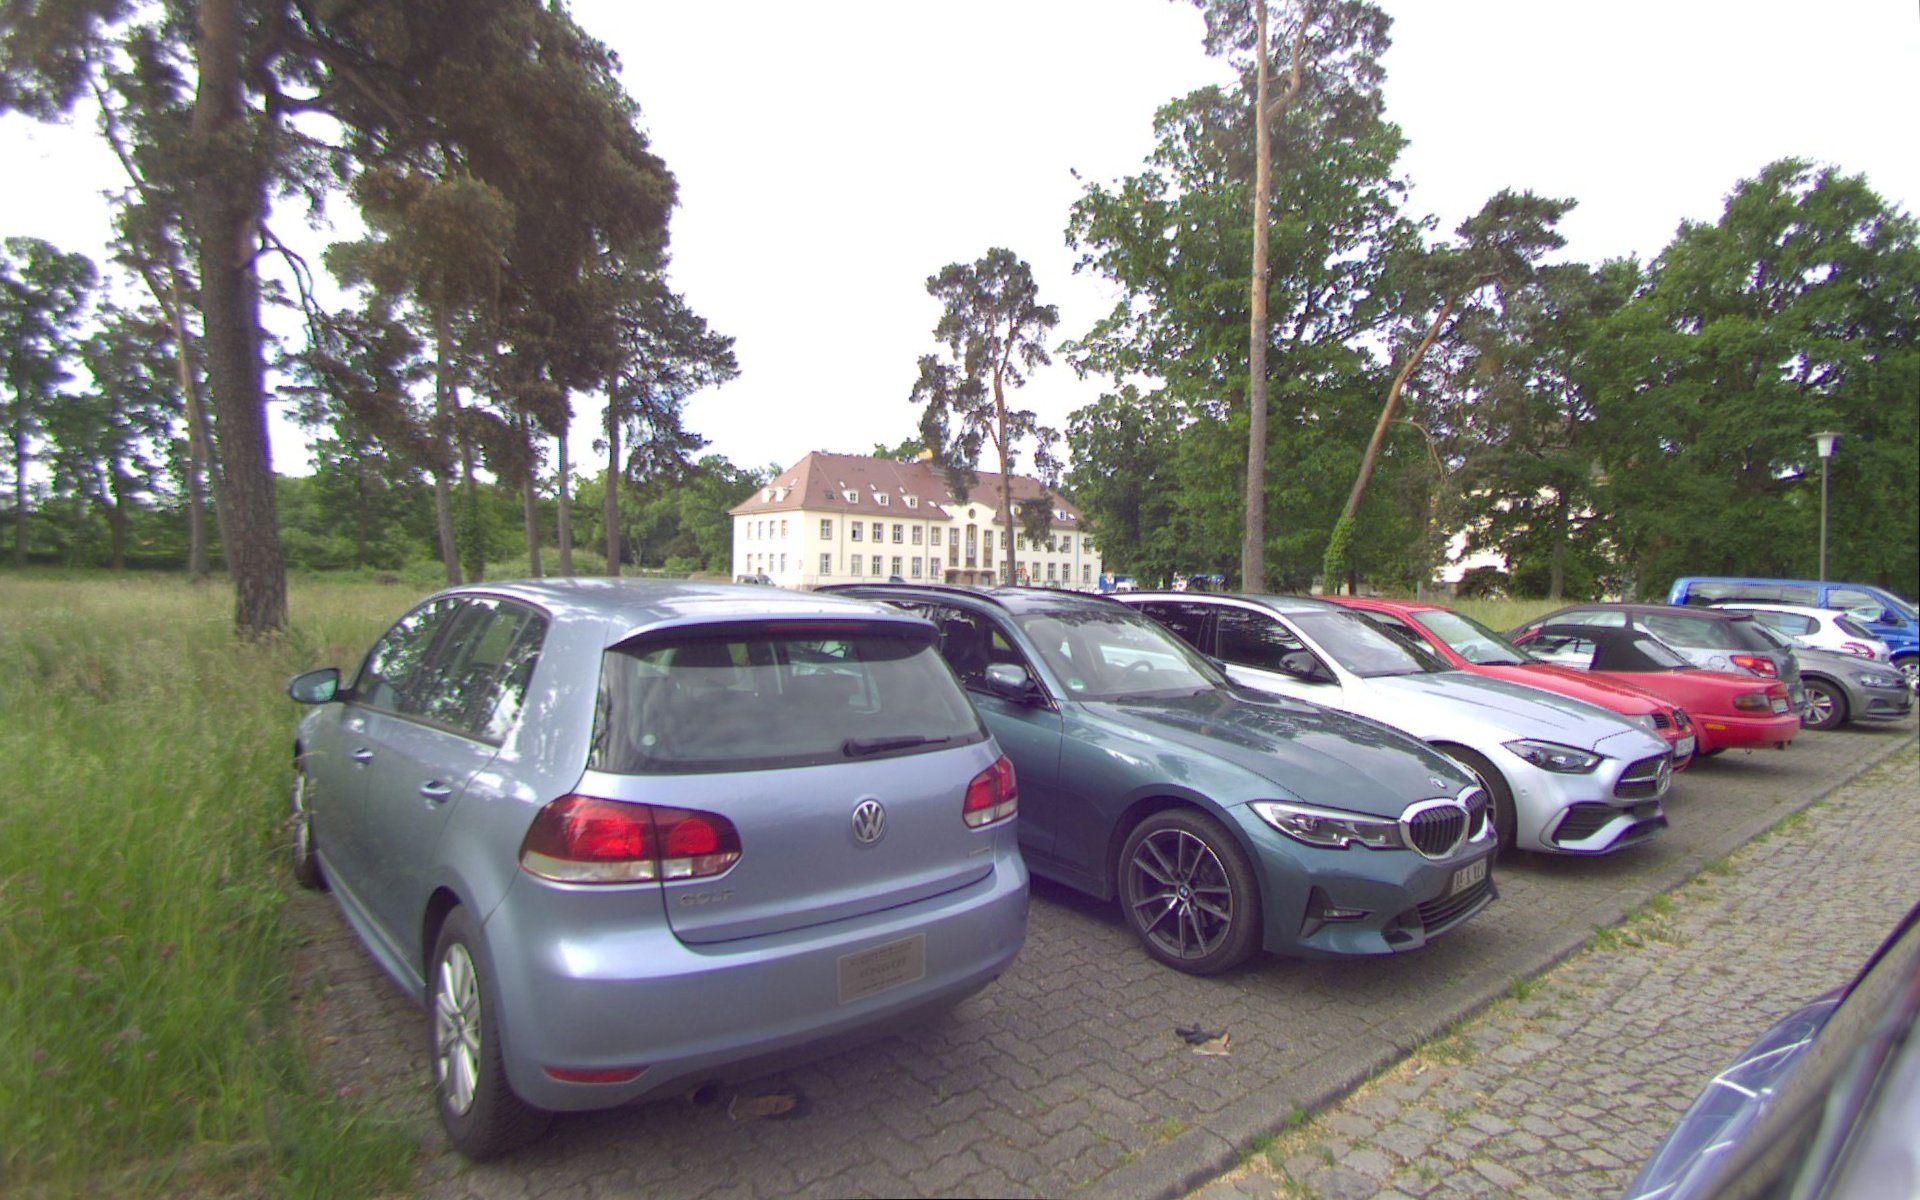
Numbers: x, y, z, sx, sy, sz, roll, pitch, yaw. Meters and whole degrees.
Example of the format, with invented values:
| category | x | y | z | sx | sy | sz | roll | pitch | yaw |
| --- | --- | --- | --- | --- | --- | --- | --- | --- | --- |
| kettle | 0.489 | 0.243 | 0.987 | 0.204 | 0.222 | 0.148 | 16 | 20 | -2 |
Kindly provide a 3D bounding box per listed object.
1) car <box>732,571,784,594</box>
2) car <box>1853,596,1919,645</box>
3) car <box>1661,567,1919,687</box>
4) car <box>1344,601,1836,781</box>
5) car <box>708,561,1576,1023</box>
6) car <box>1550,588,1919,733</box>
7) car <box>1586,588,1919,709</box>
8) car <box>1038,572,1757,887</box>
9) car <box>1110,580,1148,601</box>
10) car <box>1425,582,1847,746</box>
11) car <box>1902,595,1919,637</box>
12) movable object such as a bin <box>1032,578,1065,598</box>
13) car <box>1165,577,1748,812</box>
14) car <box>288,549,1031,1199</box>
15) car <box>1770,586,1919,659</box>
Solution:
| category | x | y | z | sx | sy | sz | roll | pitch | yaw |
| --- | --- | --- | --- | --- | --- | --- | --- | --- | --- |
| car | -21.204 | -1.856 | 106.091 | 5.849 | 2.269 | 2.281 | 3 | 2 | 43 |
| car | 30.537 | 0.685 | 31.525 | 1.555 | 1.478 | 3.892 | 0 | 2 | -41 |
| car | 16.382 | 0.449 | 19.076 | 1.968 | 1.969 | 4.818 | 0 | 3 | -41 |
| car | 6.161 | 0.742 | 10.248 | 1.727 | 1.251 | 3.870 | 0 | 3 | -41 |
| car | 0.543 | 0.575 | 5.741 | 1.839 | 1.434 | 4.689 | 0 | 3 | -42 |
| car | 10.401 | 0.682 | 13.607 | 1.727 | 1.490 | 3.872 | 0 | 3 | -40 |
| car | 12.333 | 0.650 | 15.898 | 1.726 | 1.490 | 3.873 | 0 | 3 | -39 |
| car | 2.745 | 0.601 | 7.351 | 1.836 | 1.434 | 4.435 | 1 | 3 | -37 |
| car | 17.355 | -0.977 | 103.944 | 3.935 | 2.039 | 1.995 | 0 | 1 | -45 |
| car | 7.932 | 0.616 | 12.159 | 1.727 | 1.490 | 3.870 | 0 | 3 | -41 |
| car | 38.271 | 0.688 | 37.958 | 1.555 | 1.557 | 4.148 | 0 | 2 | -41 |
| movable object such as a bin | 9.442 | -1.274 | 107.701 | 3.180 | 2.039 | 1.682 | 0 | 1 | -33 |
| car | 4.129 | 0.601 | 9.041 | 1.838 | 1.434 | 4.272 | 0 | 3 | -40 |
| car | -1.643 | 0.587 | 4.218 | 1.612 | 1.495 | 3.938 | 1 | 3 | -38 |
| car | 22.873 | 0.554 | 24.954 | 1.790 | 1.618 | 4.269 | 0 | 2 | -41 |
